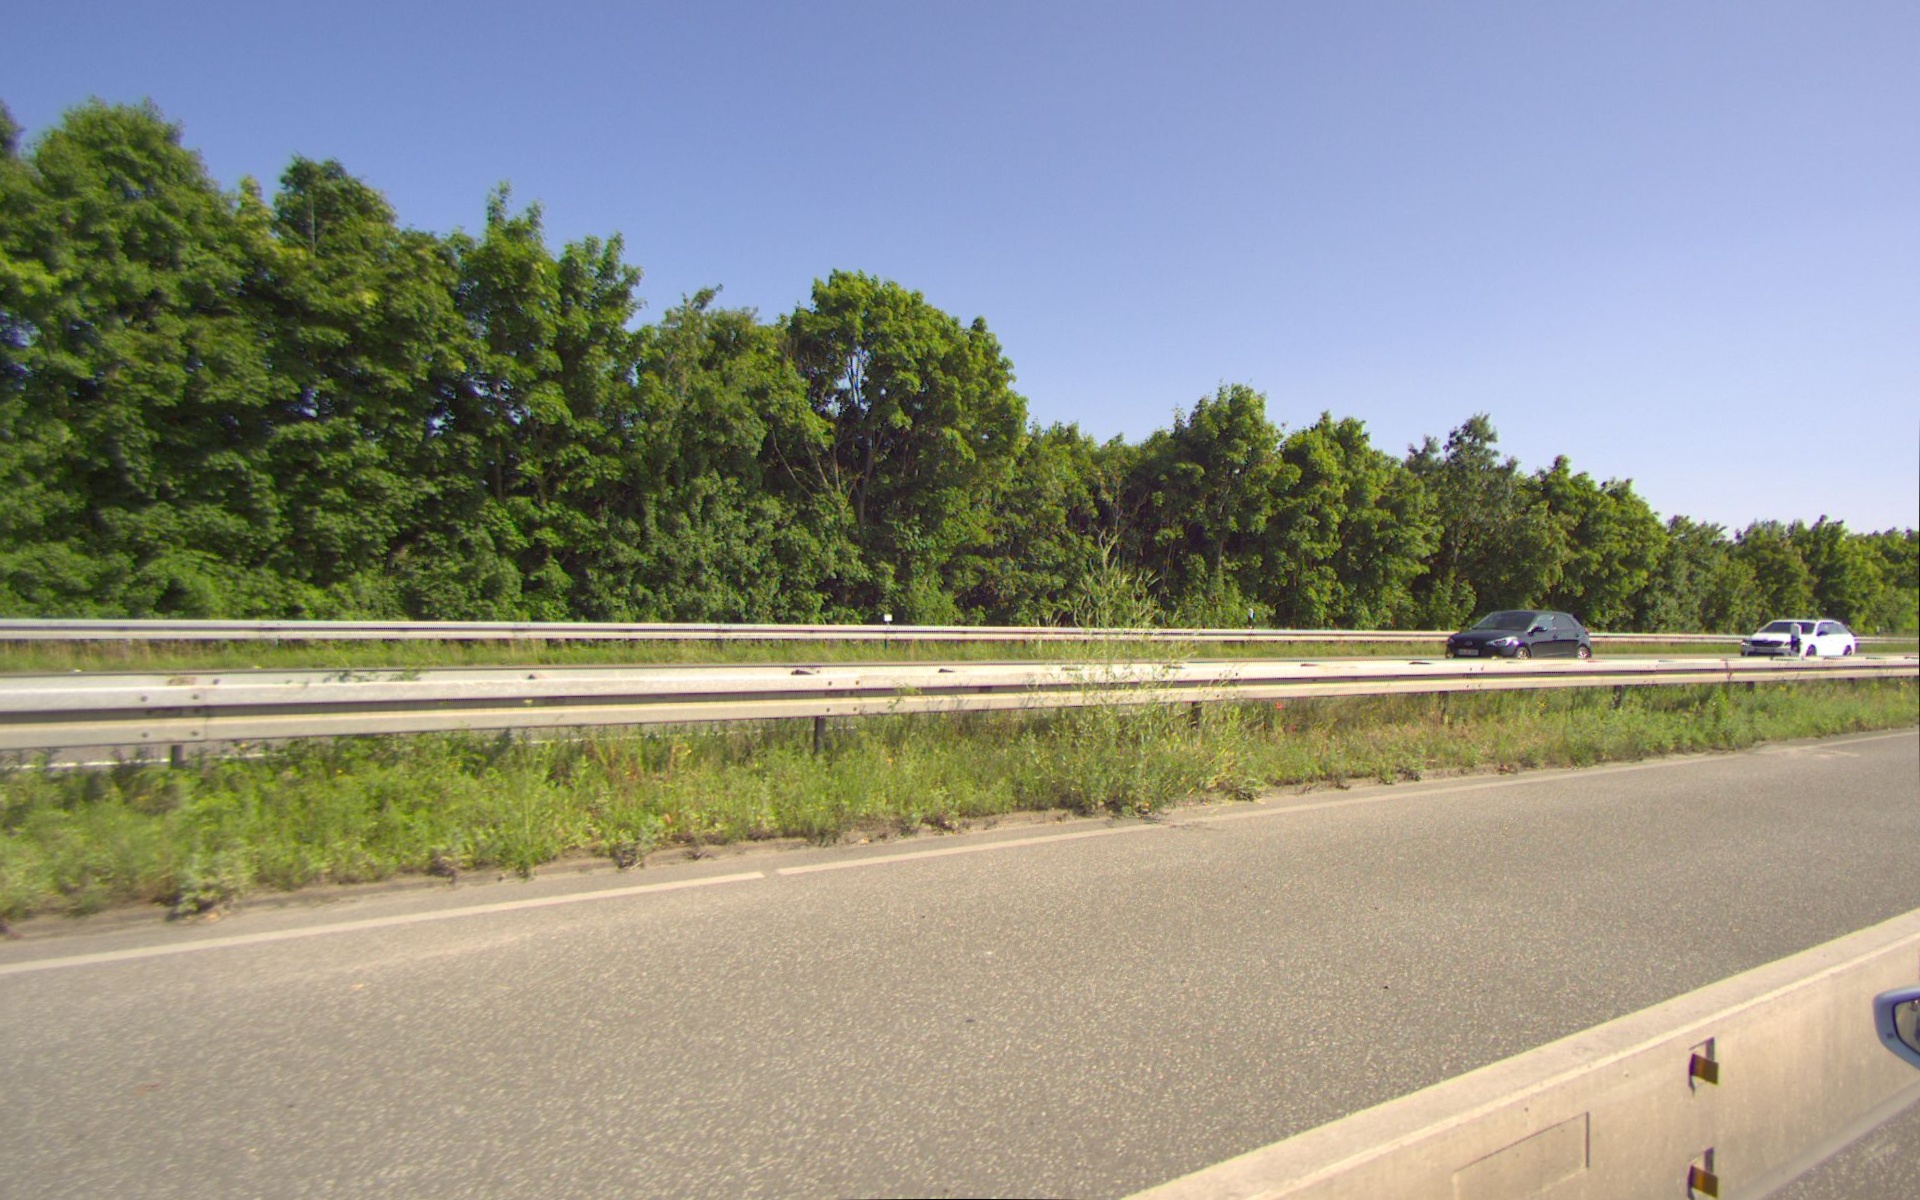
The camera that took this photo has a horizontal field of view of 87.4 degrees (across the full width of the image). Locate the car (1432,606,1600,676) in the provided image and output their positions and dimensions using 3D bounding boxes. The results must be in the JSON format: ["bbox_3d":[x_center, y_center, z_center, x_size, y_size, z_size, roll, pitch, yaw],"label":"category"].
[{"bbox_3d":[13.444,0.960,24.252,4.062,1.514,1.729,1,1,-31],"label":"car"}]

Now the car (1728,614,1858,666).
[{"bbox_3d":[26.896,1.276,32.378,4.740,1.490,1.750,1,1,-31],"label":"car"}]
